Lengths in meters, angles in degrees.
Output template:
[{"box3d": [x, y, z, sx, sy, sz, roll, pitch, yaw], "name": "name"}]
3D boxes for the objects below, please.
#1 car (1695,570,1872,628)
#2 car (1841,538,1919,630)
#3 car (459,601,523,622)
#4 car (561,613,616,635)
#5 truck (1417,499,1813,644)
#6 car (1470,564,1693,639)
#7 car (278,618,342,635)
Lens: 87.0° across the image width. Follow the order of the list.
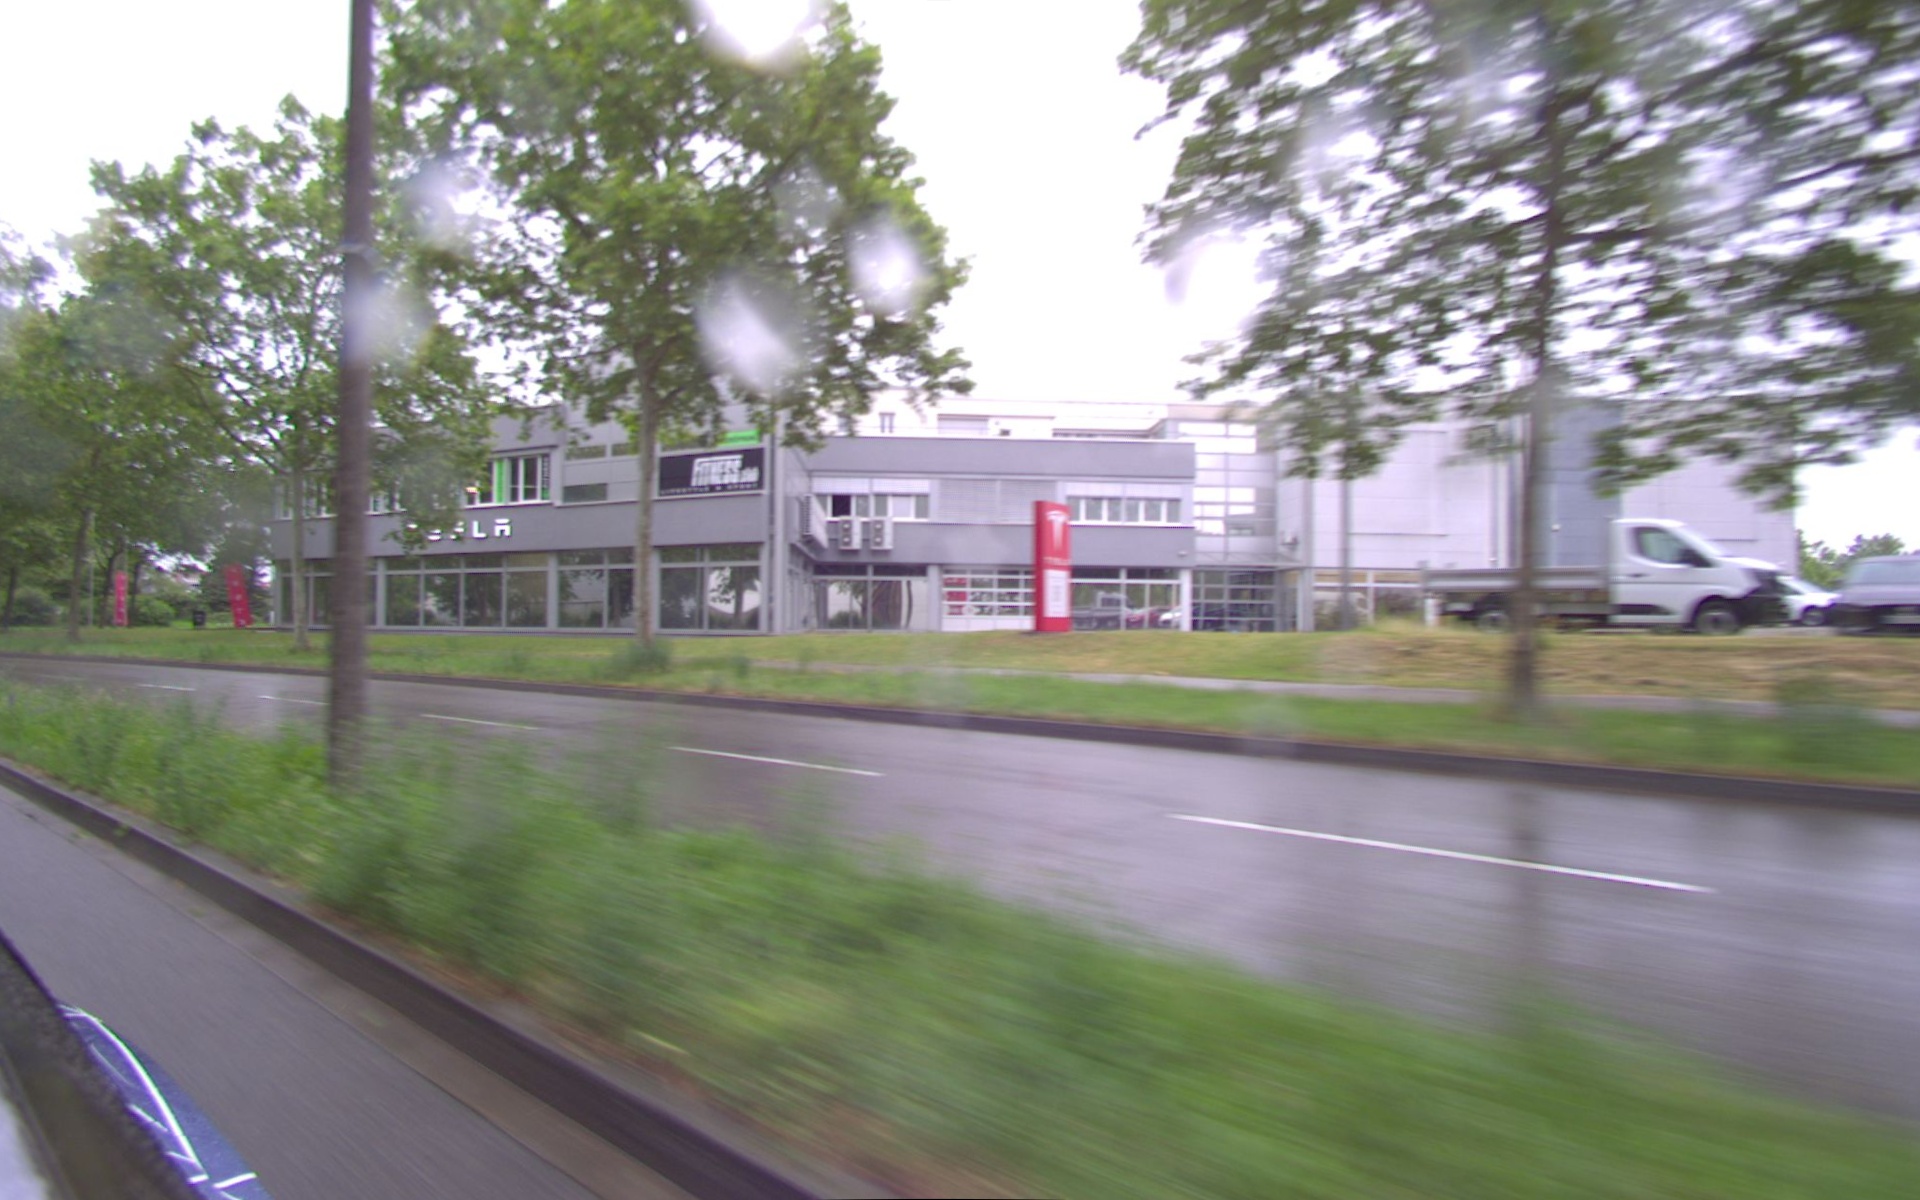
[{"box3d": [27.392, 0.012, 33.804, 1.738, 1.741, 4.169, -2, -1, -31], "name": "car"}, {"box3d": [15.305, -0.318, 16.153, 1.767, 1.336, 3.487, -3, 1, 40], "name": "car"}, {"box3d": [-43.957, 1.072, 94.969, 5.156, 1.878, 1.794, 0, -1, -1], "name": "car"}, {"box3d": [-32.091, 2.059, 87.417, 4.136, 1.827, 1.822, 1, -1, -36], "name": "car"}, {"box3d": [12.600, -0.438, 19.829, 6.192, 2.362, 2.223, -3, 0, 42], "name": "truck"}, {"box3d": [14.045, 0.067, 23.023, 4.146, 1.478, 1.748, -3, -1, 35], "name": "car"}, {"box3d": [-53.082, 2.170, 82.649, 4.232, 1.368, 1.598, 0, -1, 0], "name": "car"}]
